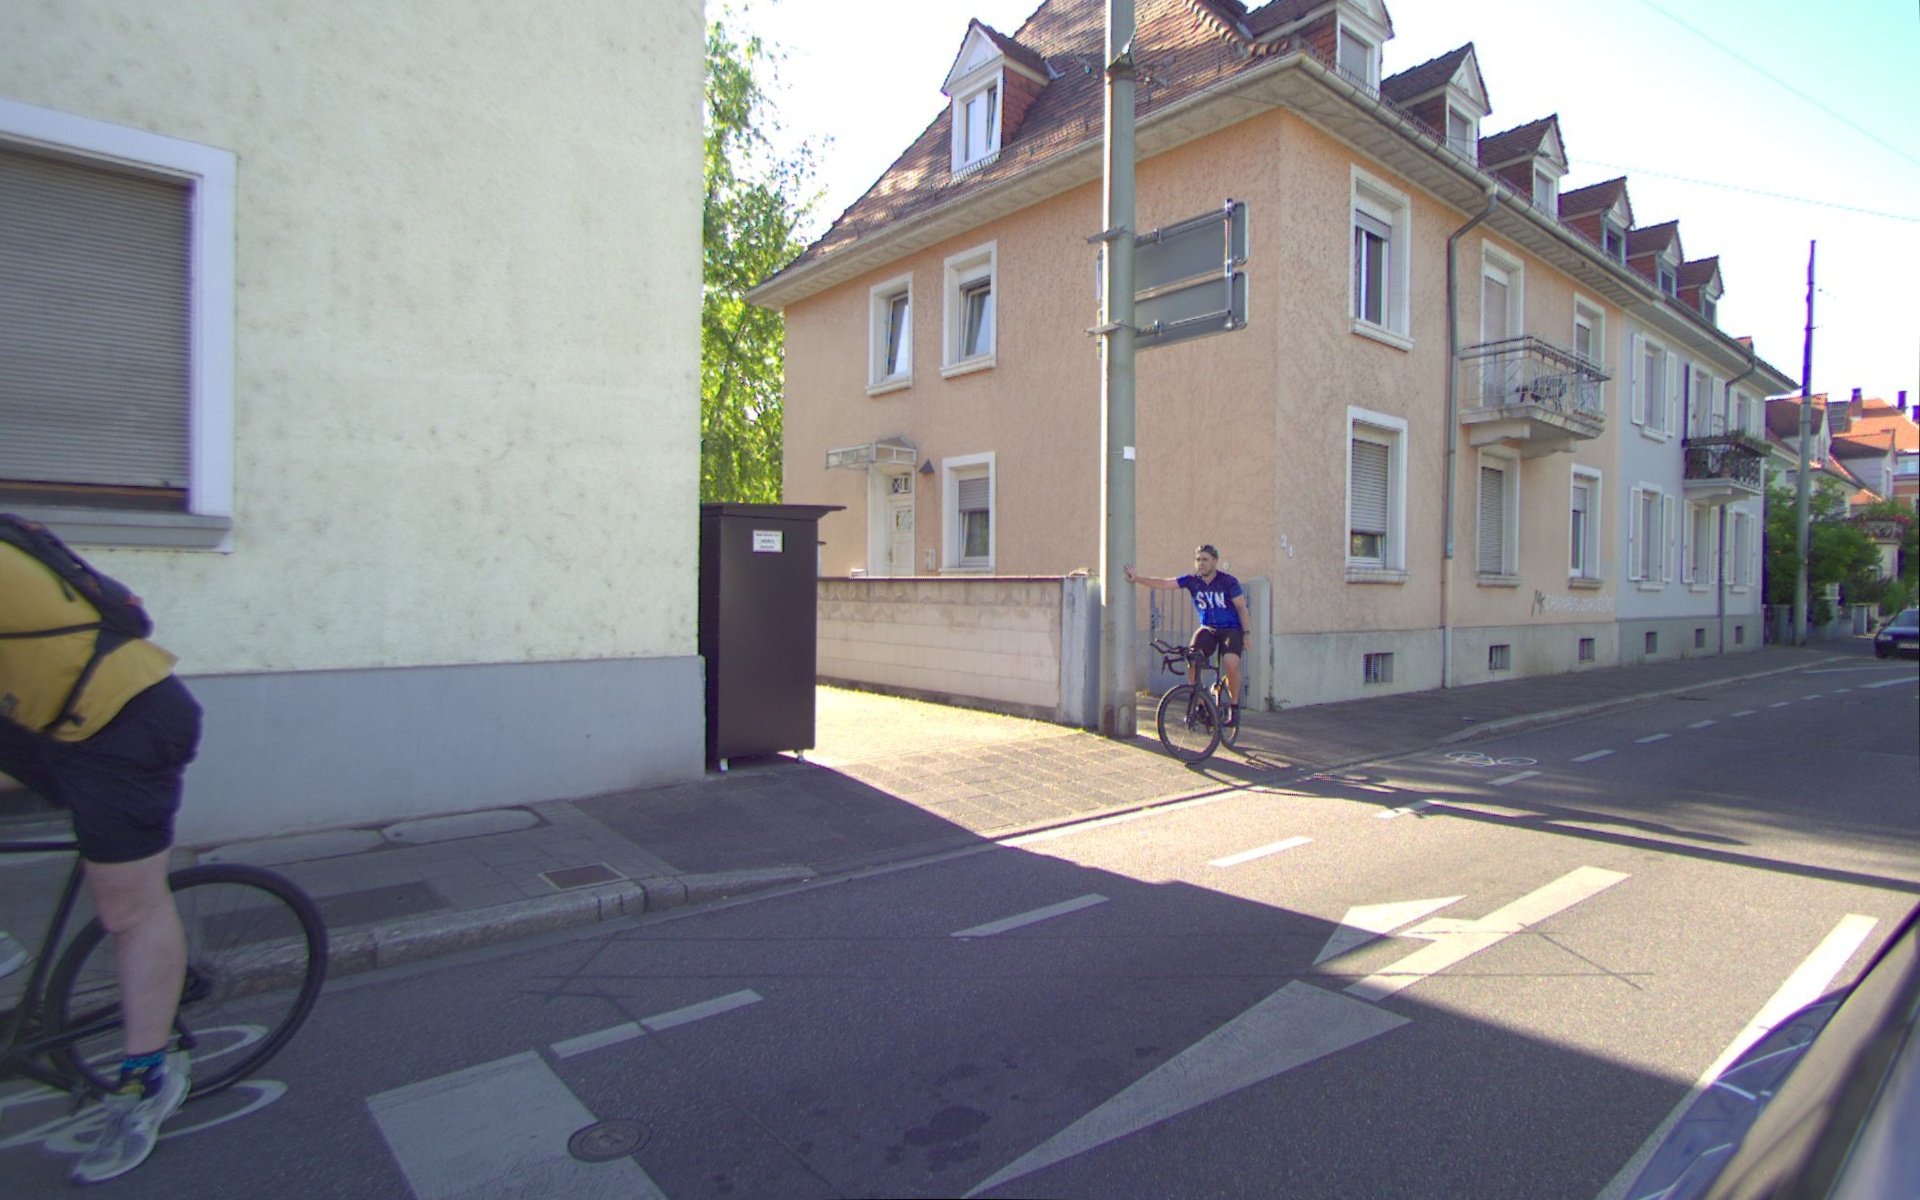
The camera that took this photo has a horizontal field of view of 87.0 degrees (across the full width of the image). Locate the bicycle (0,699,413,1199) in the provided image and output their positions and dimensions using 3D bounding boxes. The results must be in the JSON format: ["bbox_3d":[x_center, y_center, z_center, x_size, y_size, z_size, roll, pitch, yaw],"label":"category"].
[{"bbox_3d":[-2.455,0.893,2.582,1.778,1.101,0.611,0,1,-41],"label":"bicycle"}]

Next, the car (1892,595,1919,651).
[{"bbox_3d":[26.652,0.606,27.330,3.932,1.438,1.845,0,1,-42],"label":"car"}]

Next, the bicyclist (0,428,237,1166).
[{"bbox_3d":[-2.464,0.461,2.596,0.939,1.743,0.582,0,0,-41],"label":"bicyclist"}]

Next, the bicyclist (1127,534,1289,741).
[{"bbox_3d":[2.311,0.305,9.494,0.838,1.758,1.072,0,6,-40],"label":"bicyclist"}]

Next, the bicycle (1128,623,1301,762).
[{"bbox_3d":[2.342,0.790,9.216,1.689,1.064,0.595,0,6,-41],"label":"bicycle"}]
